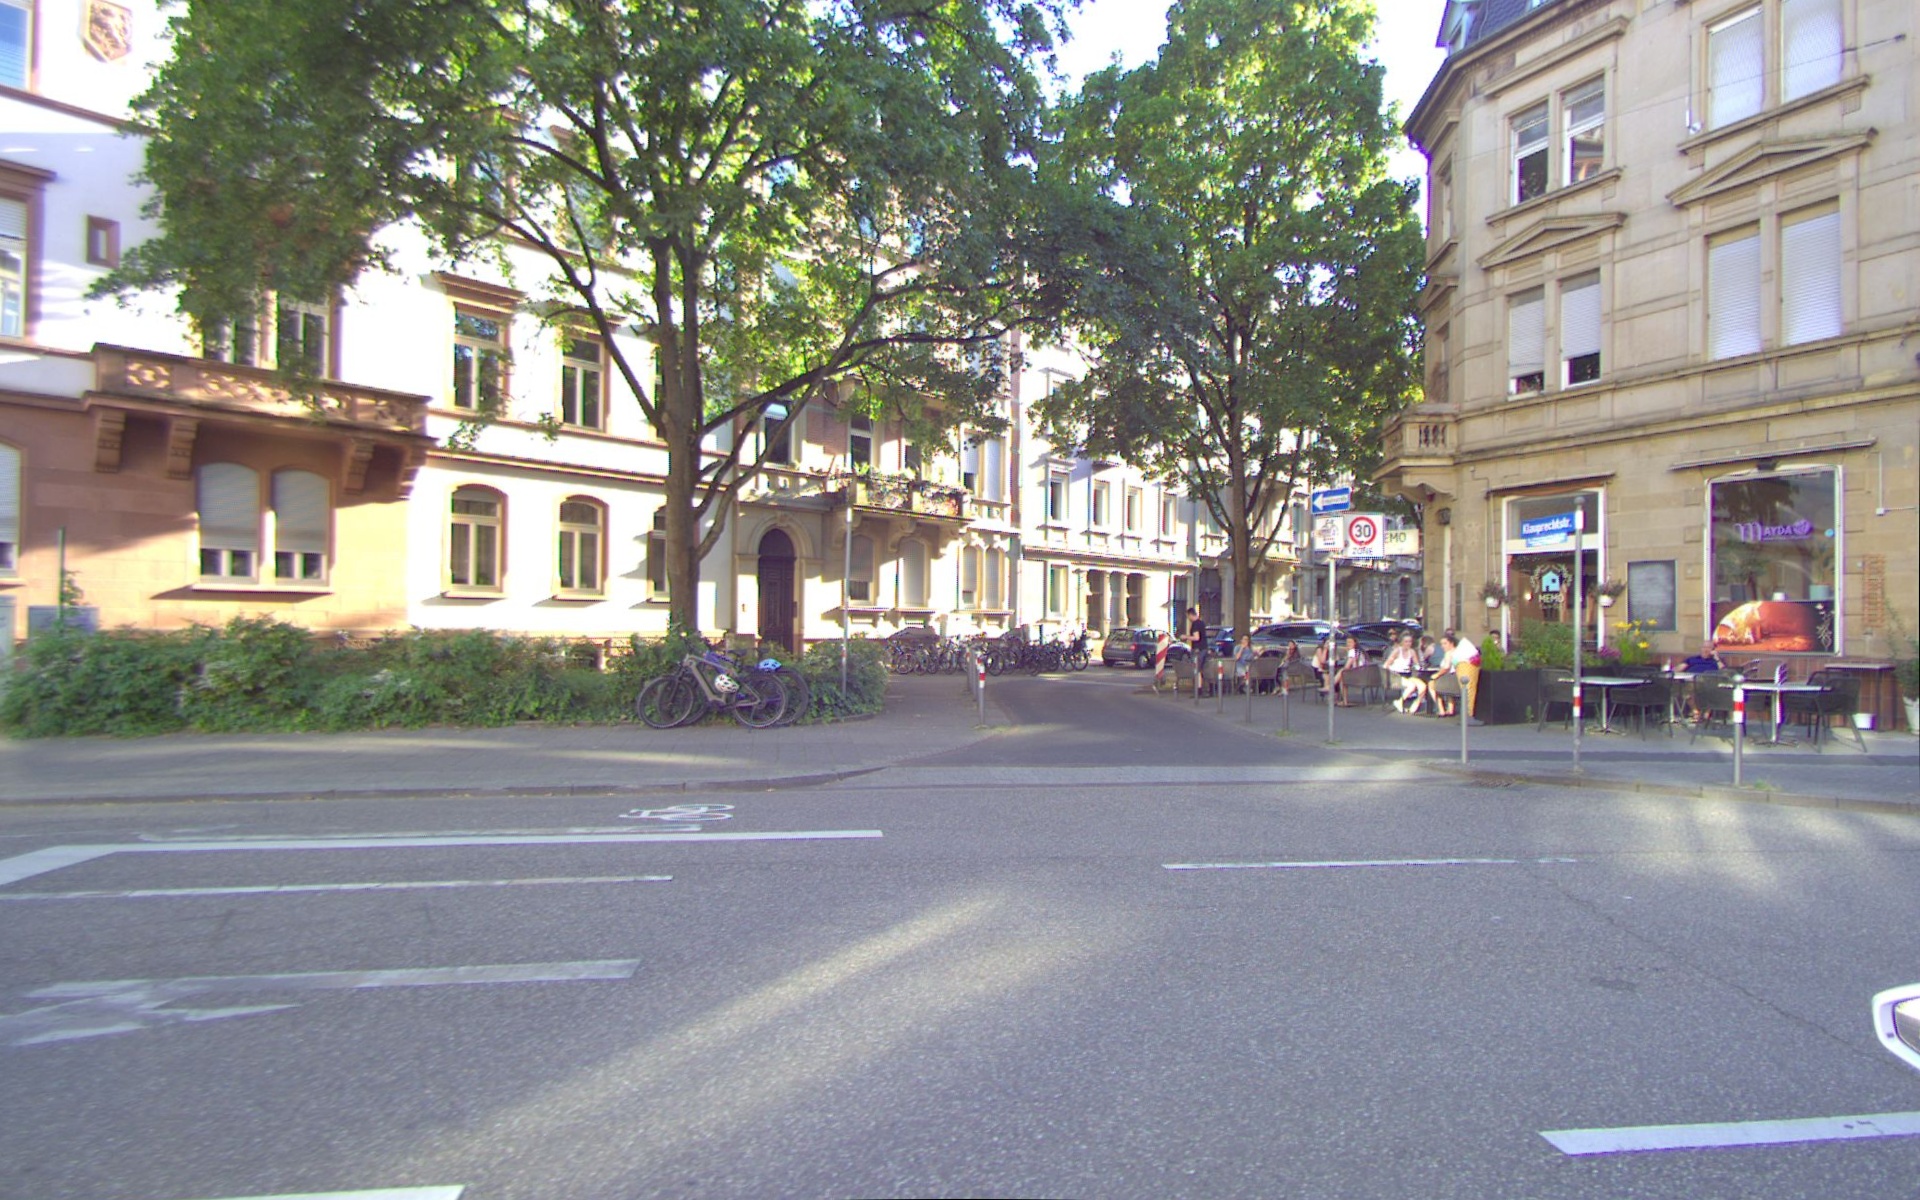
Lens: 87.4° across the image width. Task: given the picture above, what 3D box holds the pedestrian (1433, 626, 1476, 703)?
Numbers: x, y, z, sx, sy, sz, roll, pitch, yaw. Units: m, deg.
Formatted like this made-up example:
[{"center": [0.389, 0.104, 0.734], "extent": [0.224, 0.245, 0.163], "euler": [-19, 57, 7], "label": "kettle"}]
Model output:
[{"center": [9.488, 1.226, 19.275], "extent": [0.475, 1.450, 0.567], "euler": [0, -1, -22], "label": "pedestrian"}]

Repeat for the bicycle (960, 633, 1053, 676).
[{"center": [1.361, 1.607, 30.145], "extent": [3.095, 1.196, 0.747], "euler": [-1, -2, 45], "label": "bicycle"}]

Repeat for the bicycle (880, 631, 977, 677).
[{"center": [-0.911, 1.456, 27.806], "extent": [3.095, 1.196, 0.747], "euler": [-1, -2, 45], "label": "bicycle"}]

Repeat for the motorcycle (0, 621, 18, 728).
[{"center": [-11.838, 0.887, 11.787], "extent": [0.835, 1.282, 2.089], "euler": [1, -2, -35], "label": "motorcycle"}]

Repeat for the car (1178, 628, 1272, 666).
[{"center": [10.246, 1.775, 38.702], "extent": [1.903, 1.394, 3.728], "euler": [-1, -2, 45], "label": "car"}]

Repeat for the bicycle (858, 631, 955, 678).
[{"center": [-1.481, 1.449, 27.188], "extent": [3.095, 1.196, 0.747], "euler": [-1, -2, 45], "label": "bicycle"}]

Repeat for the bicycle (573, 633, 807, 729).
[{"center": [-3.489, 1.051, 13.197], "extent": [2.903, 1.212, 0.547], "euler": [1, -1, -7], "label": "bicycle"}]

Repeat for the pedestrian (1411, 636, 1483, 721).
[{"center": [7.741, 1.231, 15.994], "extent": [0.732, 1.306, 0.742], "euler": [1, -1, -21], "label": "pedestrian"}]

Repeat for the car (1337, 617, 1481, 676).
[{"center": [13.787, 1.385, 30.845], "extent": [3.927, 1.706, 1.997], "euler": [0, -2, 28], "label": "car"}]

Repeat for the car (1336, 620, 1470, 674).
[{"center": [14.631, 1.531, 33.424], "extent": [3.921, 1.706, 2.000], "euler": [0, -1, 19], "label": "car"}]

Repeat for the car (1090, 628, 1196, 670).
[{"center": [6.441, 1.683, 35.137], "extent": [1.903, 1.394, 3.728], "euler": [-1, -2, 45], "label": "car"}]

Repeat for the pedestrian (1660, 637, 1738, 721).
[{"center": [11.256, 1.180, 15.298], "extent": [0.748, 1.230, 0.722], "euler": [1, -1, -30], "label": "pedestrian"}]

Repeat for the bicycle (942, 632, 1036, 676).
[{"center": [0.811, 1.568, 29.556], "extent": [3.095, 1.196, 0.747], "euler": [-1, -2, 45], "label": "bicycle"}]

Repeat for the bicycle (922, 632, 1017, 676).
[{"center": [0.244, 1.526, 28.954], "extent": [3.095, 1.196, 0.747], "euler": [-1, -2, 45], "label": "bicycle"}]

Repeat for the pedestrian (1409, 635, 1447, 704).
[{"center": [8.699, 1.279, 18.665], "extent": [0.426, 1.265, 0.481], "euler": [0, -1, -13], "label": "pedestrian"}]

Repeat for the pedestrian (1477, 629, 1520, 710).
[{"center": [9.412, 1.199, 17.567], "extent": [0.427, 1.385, 0.480], "euler": [0, -1, -19], "label": "pedestrian"}]

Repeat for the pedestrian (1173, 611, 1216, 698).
[{"center": [4.904, 1.141, 21.016], "extent": [0.752, 1.793, 0.572], "euler": [0, -2, 1], "label": "pedestrian"}]

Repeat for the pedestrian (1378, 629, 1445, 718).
[{"center": [7.547, 1.212, 16.813], "extent": [0.717, 1.429, 0.753], "euler": [1, -1, -23], "label": "pedestrian"}]

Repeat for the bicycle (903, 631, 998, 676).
[{"center": [-0.310, 1.490, 28.399], "extent": [3.095, 1.196, 0.747], "euler": [-1, -2, 45], "label": "bicycle"}]

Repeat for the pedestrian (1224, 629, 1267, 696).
[{"center": [6.292, 1.377, 22.166], "extent": [0.752, 1.460, 0.668], "euler": [0, -2, 1], "label": "pedestrian"}]

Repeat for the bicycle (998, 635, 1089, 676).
[{"center": [2.558, 1.692, 31.322], "extent": [3.095, 1.196, 0.747], "euler": [-1, -2, 45], "label": "bicycle"}]

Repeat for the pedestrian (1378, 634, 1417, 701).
[{"center": [8.485, 1.303, 19.487], "extent": [0.501, 1.265, 0.481], "euler": [0, -1, -13], "label": "pedestrian"}]

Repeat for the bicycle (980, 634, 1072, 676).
[{"center": [1.980, 1.649, 30.711], "extent": [3.095, 1.196, 0.747], "euler": [-1, -2, 45], "label": "bicycle"}]

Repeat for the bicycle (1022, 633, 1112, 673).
[{"center": [3.381, 1.660, 32.106], "extent": [3.095, 1.196, 0.747], "euler": [-1, -2, 45], "label": "bicycle"}]

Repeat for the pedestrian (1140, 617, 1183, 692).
[{"center": [4.665, 1.257, 23.283], "extent": [0.754, 1.691, 0.667], "euler": [0, -2, -13], "label": "pedestrian"}]

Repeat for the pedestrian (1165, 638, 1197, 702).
[{"center": [4.750, 1.496, 21.617], "extent": [0.561, 1.338, 0.505], "euler": [0, -1, 0], "label": "pedestrian"}]

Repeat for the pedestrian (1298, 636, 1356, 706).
[{"center": [6.889, 1.325, 18.872], "extent": [0.736, 1.265, 0.705], "euler": [0, -1, -13], "label": "pedestrian"}]

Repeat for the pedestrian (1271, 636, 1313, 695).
[{"center": [7.136, 1.400, 21.614], "extent": [0.664, 1.231, 0.668], "euler": [0, -2, 0], "label": "pedestrian"}]

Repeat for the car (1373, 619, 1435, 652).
[{"center": [23.382, 1.855, 52.832], "extent": [1.788, 1.706, 3.728], "euler": [-1, -2, 45], "label": "car"}]

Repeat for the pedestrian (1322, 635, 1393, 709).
[{"center": [7.104, 1.264, 17.991], "extent": [0.736, 1.265, 1.022], "euler": [0, -1, -14], "label": "pedestrian"}]

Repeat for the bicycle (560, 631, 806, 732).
[{"center": [-3.417, 1.011, 12.607], "extent": [2.903, 1.212, 0.547], "euler": [1, -1, -7], "label": "bicycle"}]

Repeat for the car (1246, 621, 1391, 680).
[{"center": [10.250, 1.424, 28.998], "extent": [3.758, 1.582, 1.804], "euler": [0, -1, 14], "label": "car"}]

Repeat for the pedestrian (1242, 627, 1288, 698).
[{"center": [6.403, 1.305, 21.141], "extent": [0.752, 1.460, 0.668], "euler": [0, -2, 1], "label": "pedestrian"}]
